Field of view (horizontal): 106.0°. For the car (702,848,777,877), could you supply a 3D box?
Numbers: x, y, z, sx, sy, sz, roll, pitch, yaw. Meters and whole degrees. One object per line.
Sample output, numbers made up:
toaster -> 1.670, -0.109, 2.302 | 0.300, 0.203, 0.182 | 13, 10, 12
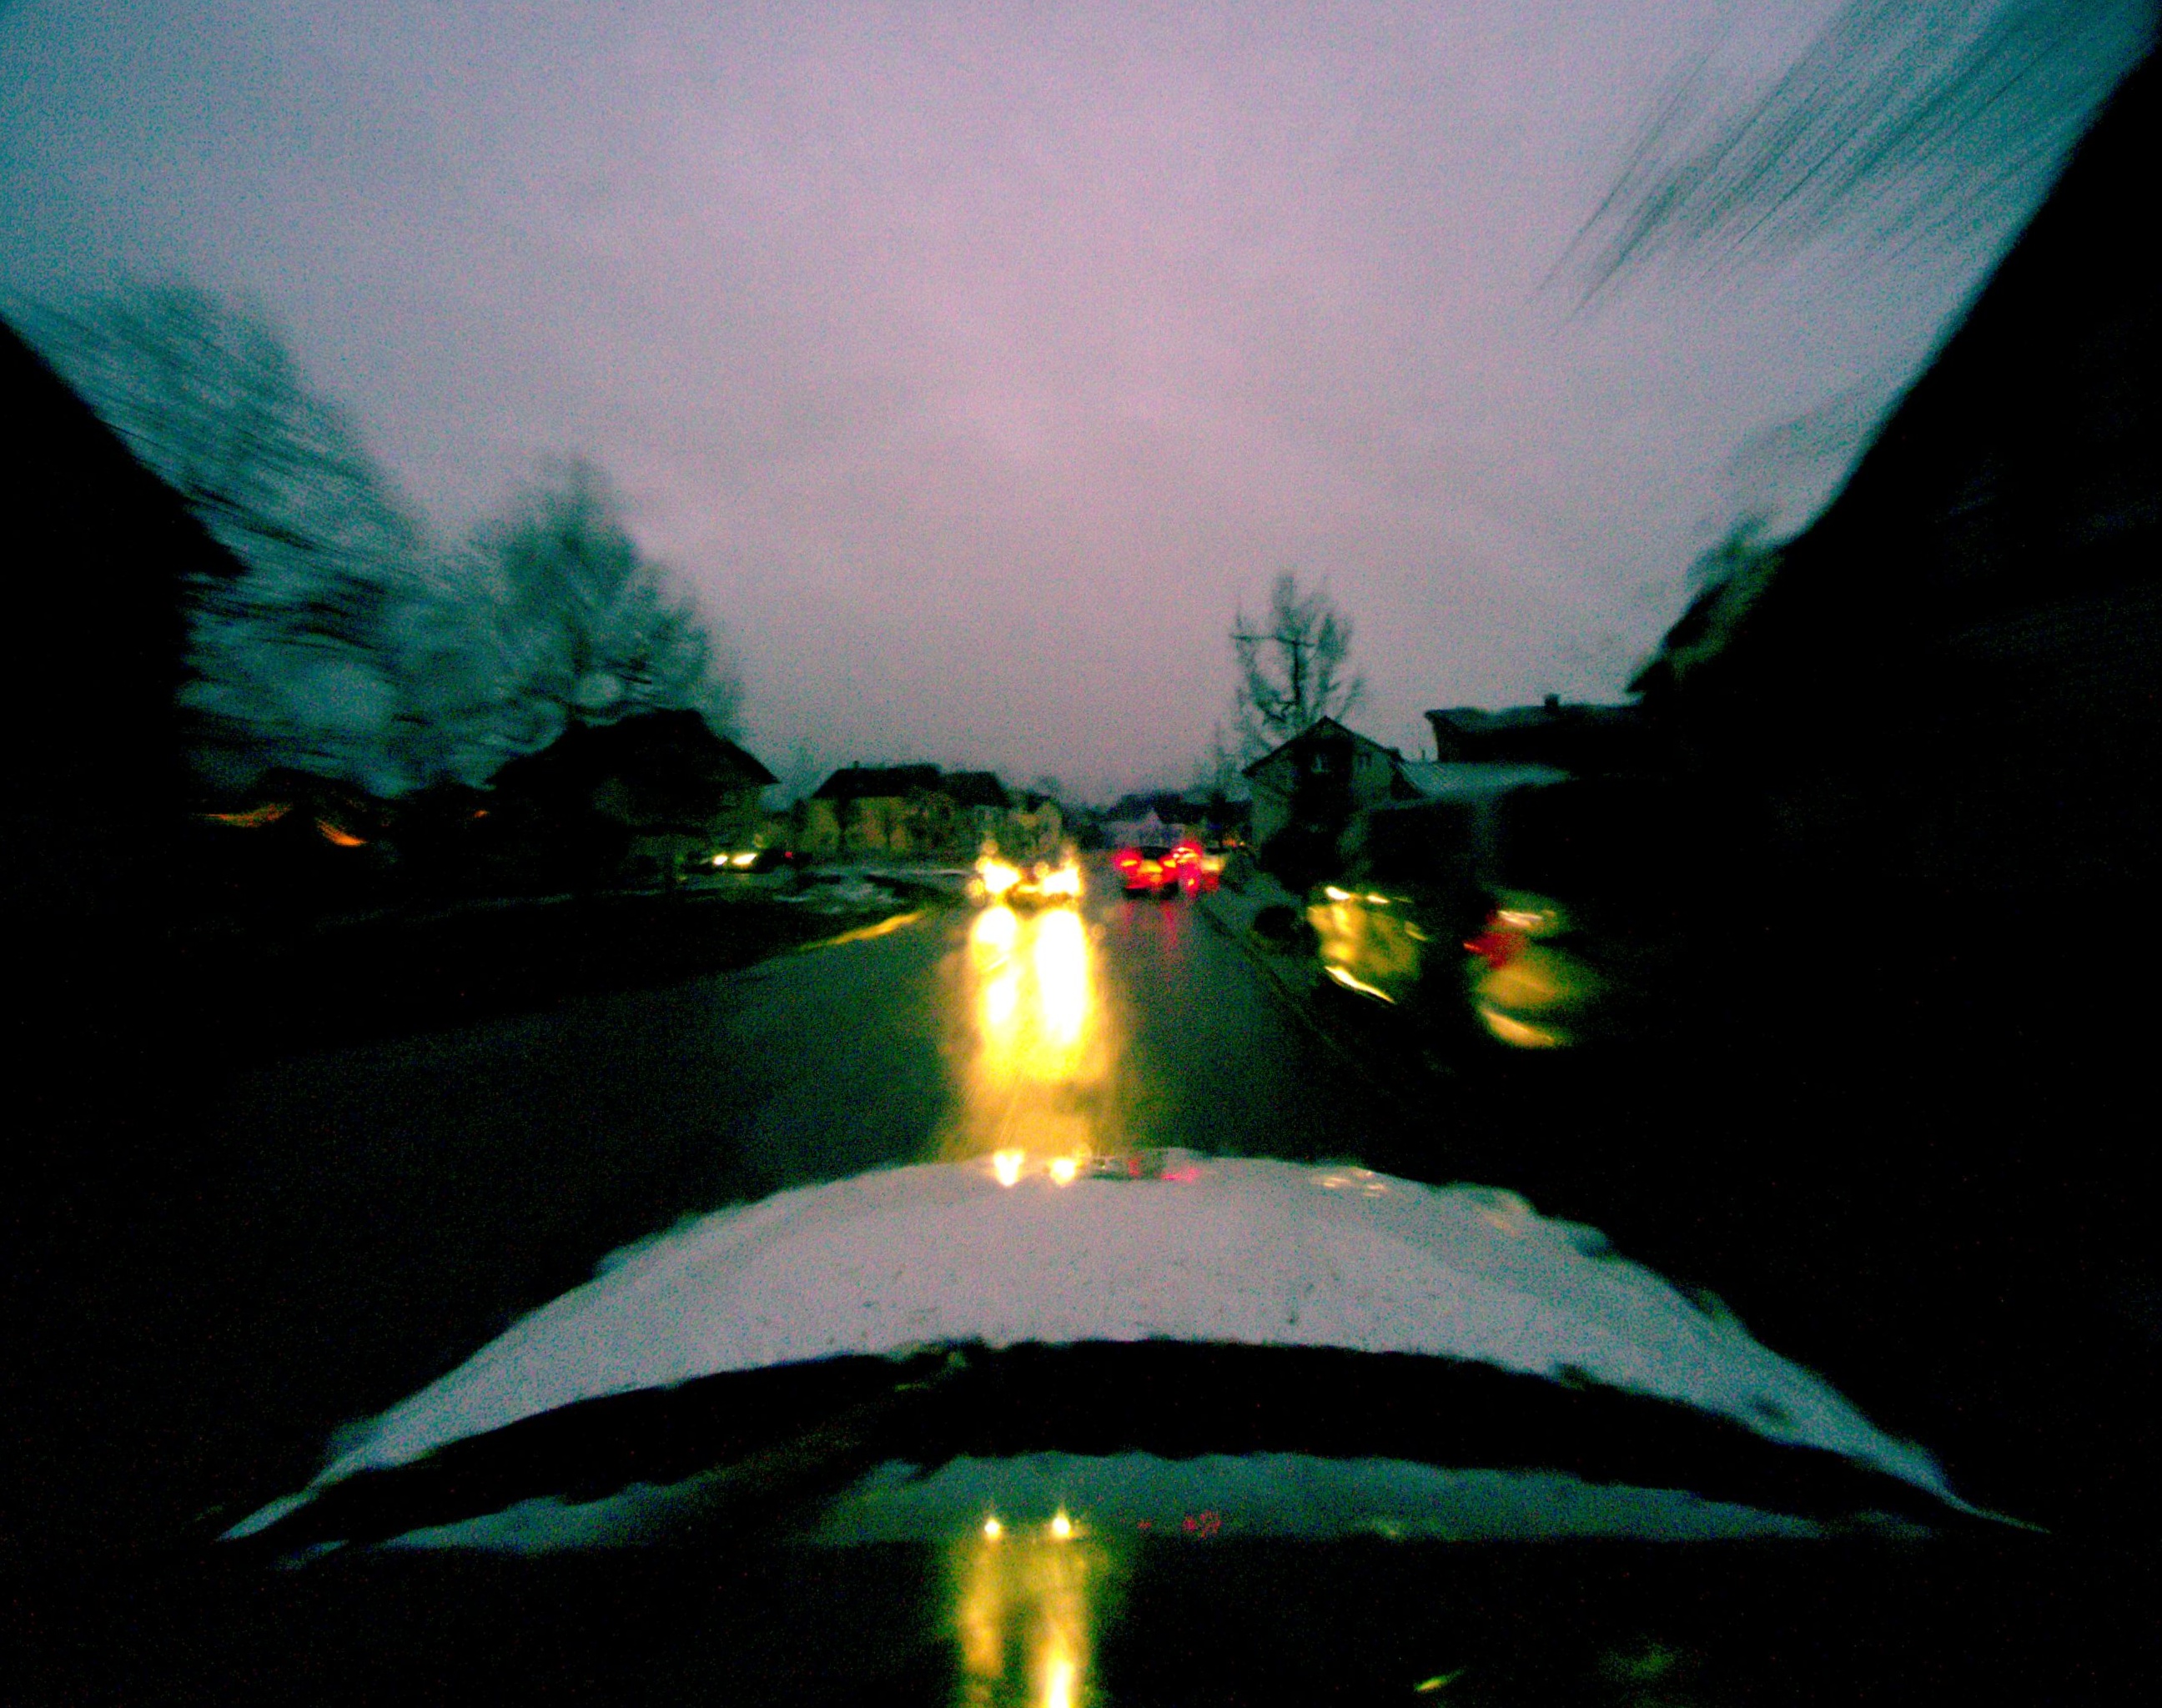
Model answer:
car -> -18.191, 0.430, 43.577 | 1.379, 1.437, 4.352 | 1, 1, 13

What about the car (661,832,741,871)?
car -> -21.192, -0.152, 45.590 | 1.904, 2.013, 4.016 | 1, 1, 14

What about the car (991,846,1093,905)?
car -> -0.970, 0.538, 23.004 | 1.895, 1.488, 4.581 | 0, 0, 10

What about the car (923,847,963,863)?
car -> -12.752, 0.076, 75.638 | 1.978, 1.307, 4.131 | 2, 1, 17

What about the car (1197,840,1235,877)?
car -> 6.984, 0.193, 41.999 | 1.734, 1.785, 4.348 | -2, 0, 10

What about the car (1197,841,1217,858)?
car -> 15.419, -0.524, 99.690 | 1.979, 2.014, 4.016 | 0, -1, 15

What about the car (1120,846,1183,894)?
car -> 2.364, 0.502, 27.816 | 1.985, 1.525, 4.004 | 0, 0, 4

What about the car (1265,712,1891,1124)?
car -> 3.169, 0.299, 7.006 | 1.970, 2.013, 5.748 | -2, 0, 2

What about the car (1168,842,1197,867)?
car -> 8.479, 0.082, 67.952 | 1.980, 2.014, 4.014 | 0, -1, 13

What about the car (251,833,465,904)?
car -> -18.890, 0.323, 21.575 | 1.986, 1.651, 4.002 | 1, 1, 2
